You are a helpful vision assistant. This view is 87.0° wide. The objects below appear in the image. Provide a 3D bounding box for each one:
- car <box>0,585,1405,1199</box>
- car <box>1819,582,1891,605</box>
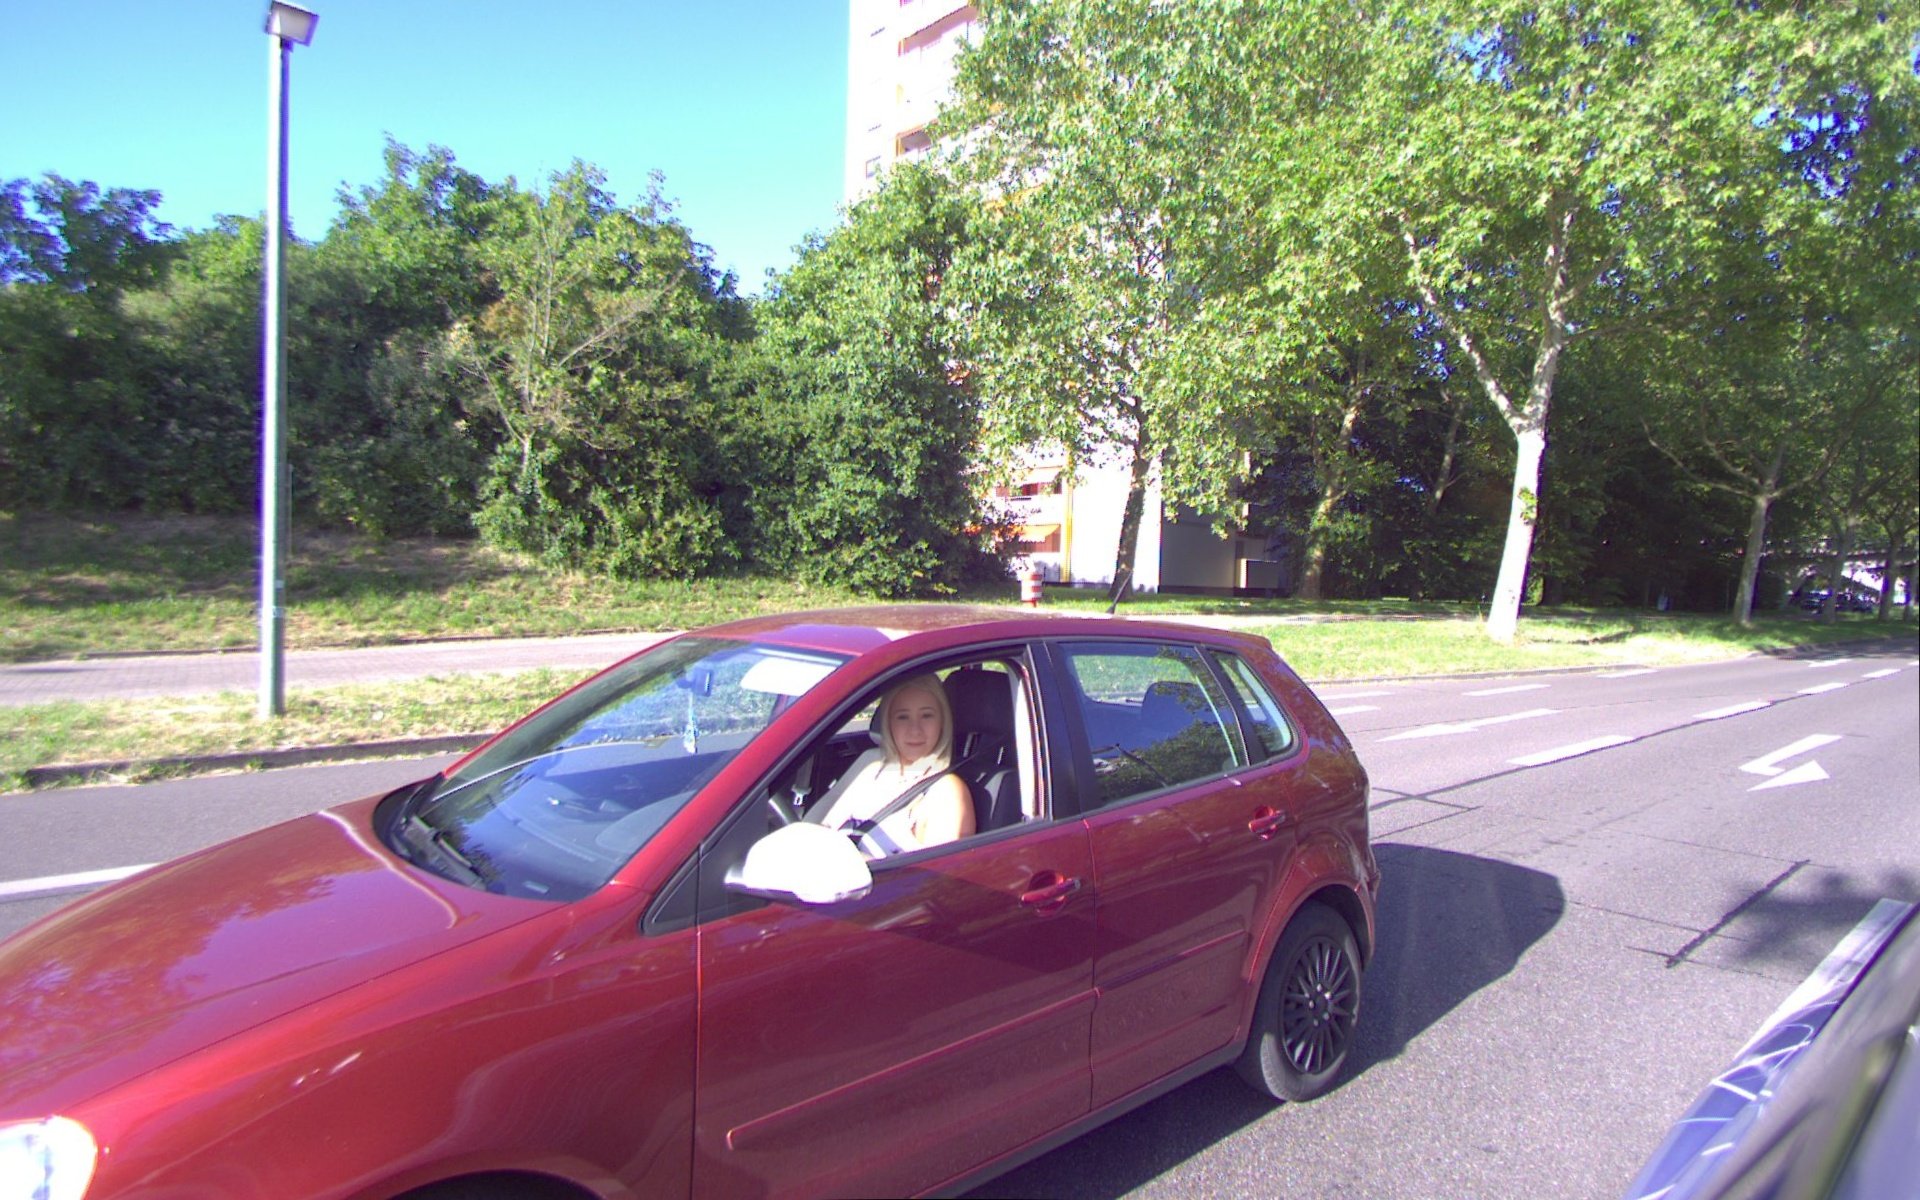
[{"bbox_3d":[-0.447,0.707,2.714,3.624,1.479,1.579,-1,0,-40],"label":"car"},{"bbox_3d":[79.008,-0.602,89.394,4.701,1.959,1.879,1,1,42],"label":"car"}]
